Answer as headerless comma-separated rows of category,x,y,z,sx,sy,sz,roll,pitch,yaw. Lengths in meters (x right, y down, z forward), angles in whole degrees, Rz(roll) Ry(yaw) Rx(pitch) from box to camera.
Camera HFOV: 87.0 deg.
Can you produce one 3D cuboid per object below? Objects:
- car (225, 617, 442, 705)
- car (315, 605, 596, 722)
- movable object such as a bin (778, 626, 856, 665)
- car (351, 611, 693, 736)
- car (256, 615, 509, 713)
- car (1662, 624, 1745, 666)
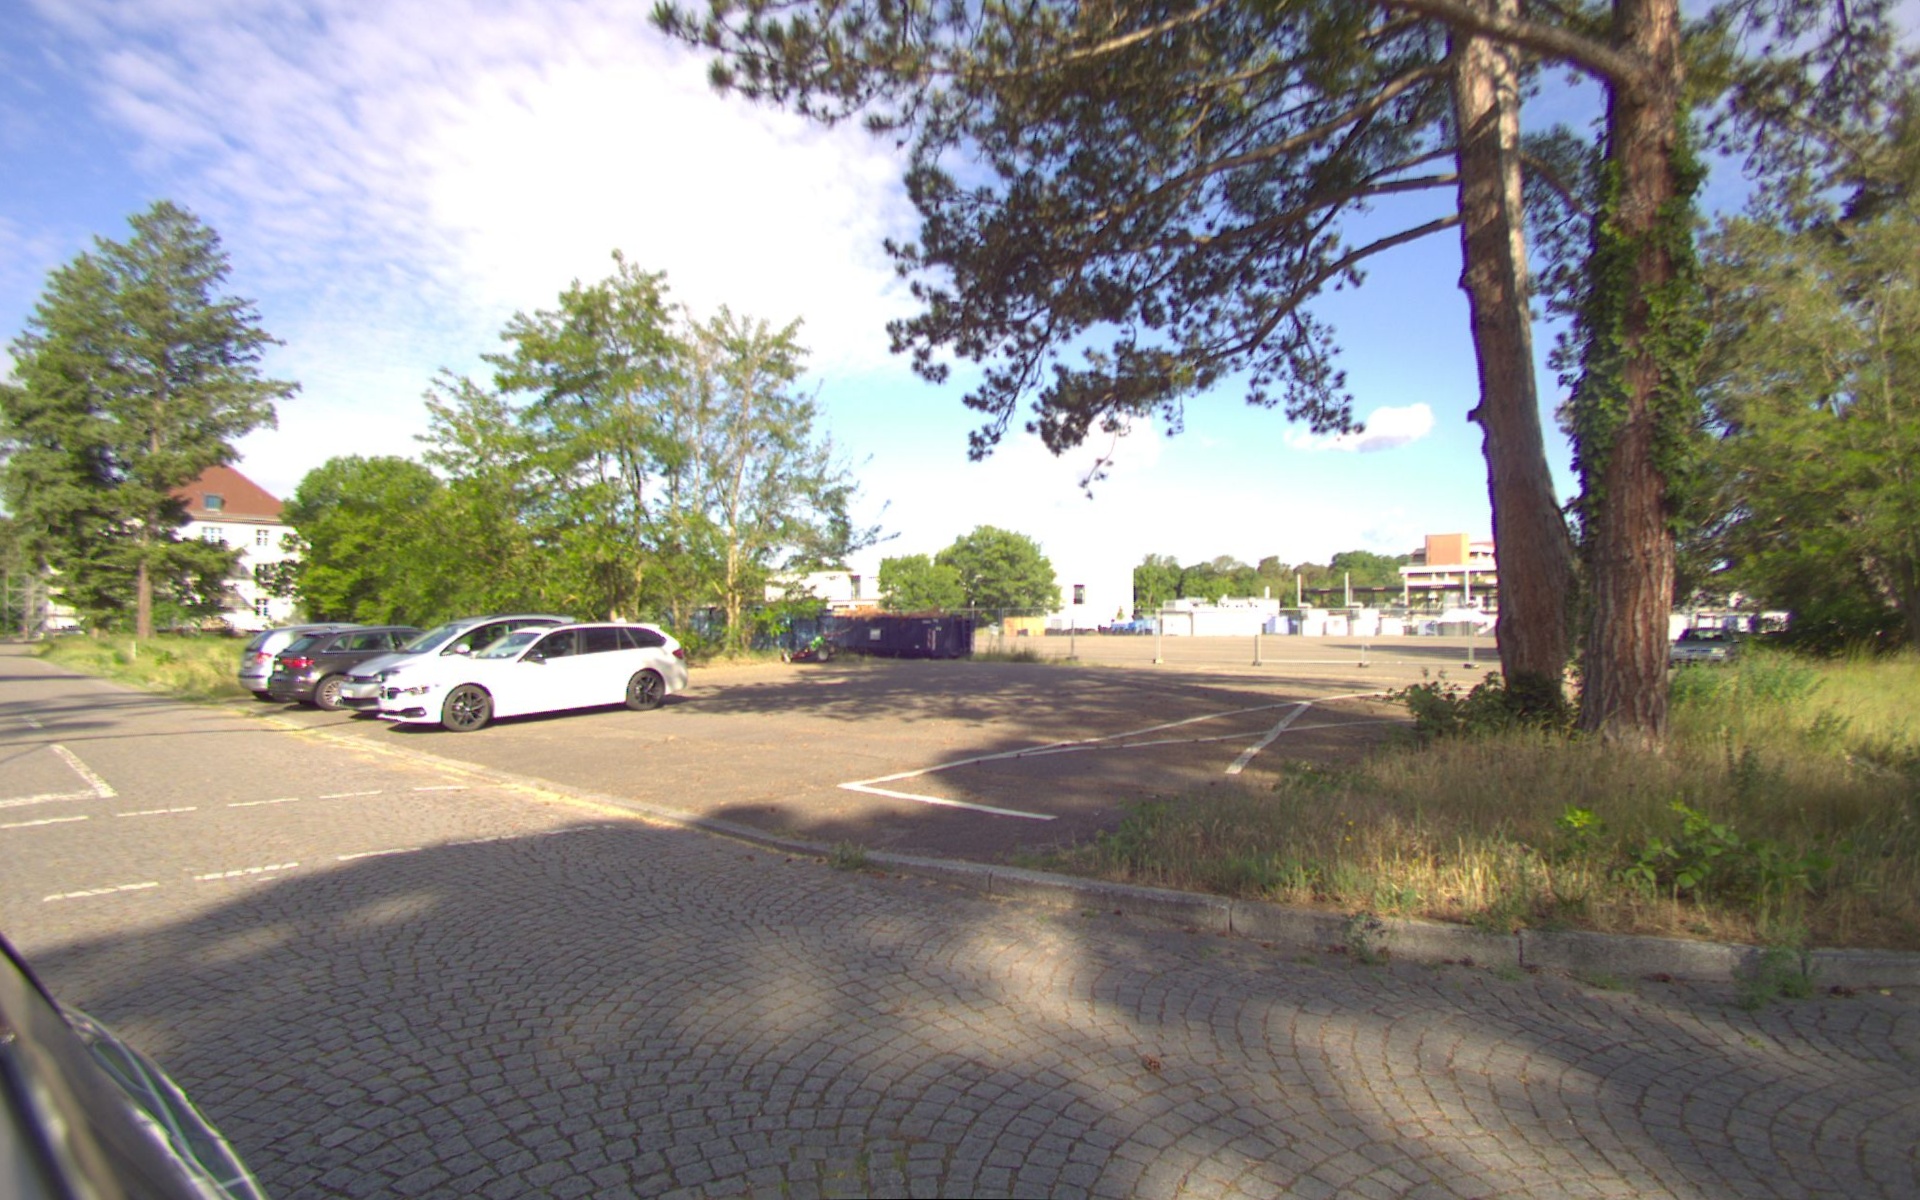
car,-12.721,1.172,20.676,1.636,1.482,3.428,-1,1,42
car,-8.485,0.982,17.289,1.720,1.638,3.904,-1,1,40
movable object such as a bin,-4.332,1.364,30.832,0.998,1.116,2.254,-1,-2,43
car,-6.563,1.007,15.578,1.752,1.478,4.493,-2,0,41
car,-10.658,1.099,18.847,1.688,1.482,3.755,-1,1,44
car,25.842,1.537,35.139,3.568,1.380,1.749,1,-2,-44
